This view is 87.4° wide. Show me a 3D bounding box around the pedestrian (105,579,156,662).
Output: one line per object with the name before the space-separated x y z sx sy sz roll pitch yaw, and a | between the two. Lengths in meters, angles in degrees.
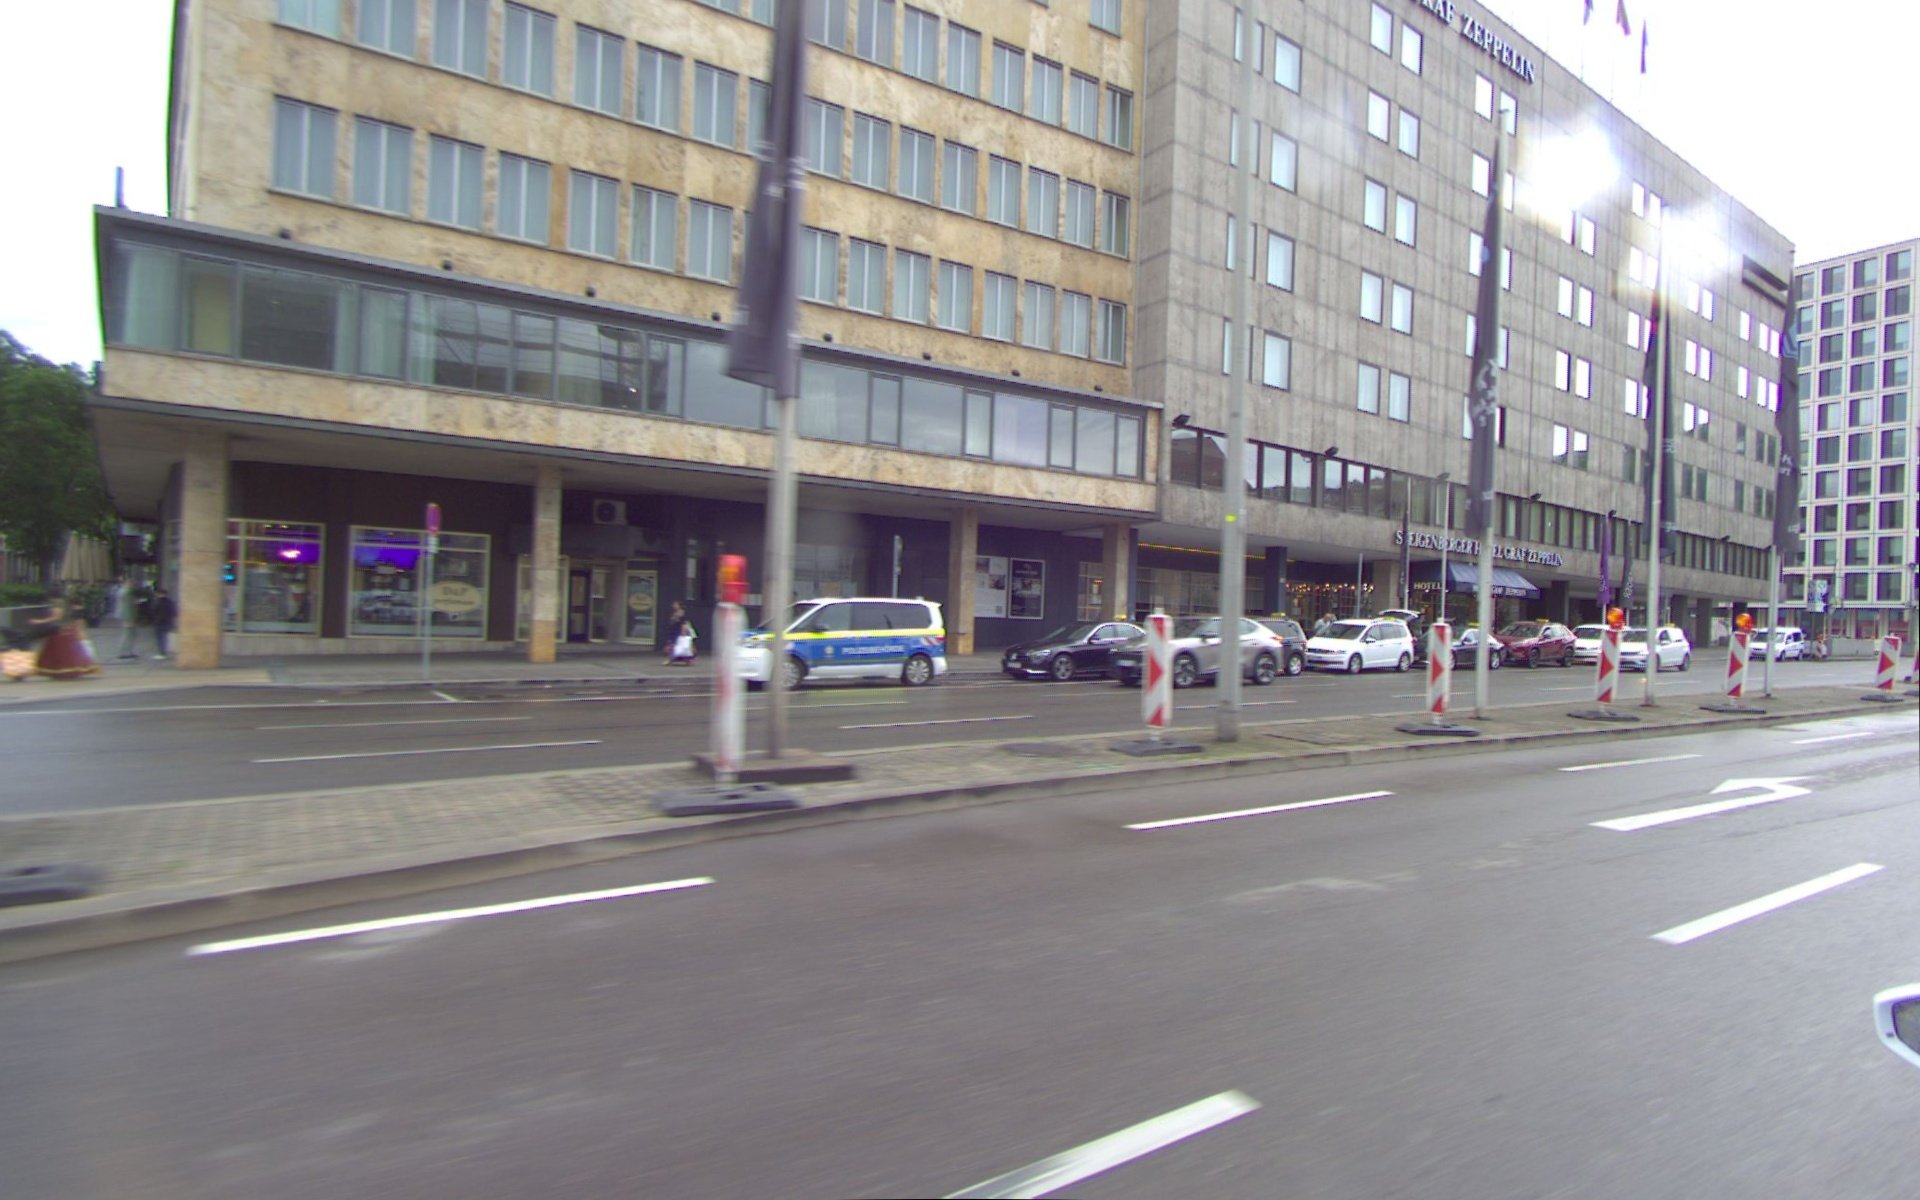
pedestrian | -19.523 0.487 23.656 0.763 1.900 0.712 2 -1 -30

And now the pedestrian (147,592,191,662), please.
pedestrian | -18.646 0.636 23.686 0.675 1.630 0.621 2 -1 -30

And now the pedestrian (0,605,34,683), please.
pedestrian | -16.354 0.744 17.121 0.746 1.309 0.559 2 -1 -37

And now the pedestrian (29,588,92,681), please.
pedestrian | -15.948 0.608 17.824 0.673 1.613 0.661 2 -1 -30

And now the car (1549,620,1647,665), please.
car | 26.350 1.766 41.459 4.532 1.720 1.804 2 -1 -35

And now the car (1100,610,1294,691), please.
car | 5.458 1.127 22.889 4.453 1.691 1.763 2 -2 -34

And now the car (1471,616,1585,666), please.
car | 21.760 1.583 38.456 4.597 1.791 1.891 2 -1 -33

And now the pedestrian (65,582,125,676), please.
pedestrian | -15.900 0.535 18.479 0.746 1.690 0.559 2 -1 -37

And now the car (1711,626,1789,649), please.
car | 70.068 3.328 89.159 2.059 1.929 5.055 2 -1 -24

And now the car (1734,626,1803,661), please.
car | 43.338 2.325 53.805 4.328 1.786 1.762 2 -1 -35

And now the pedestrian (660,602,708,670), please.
pedestrian | -6.555 0.856 23.872 0.945 1.569 0.712 2 -1 -29

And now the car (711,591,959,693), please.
car | -2.589 0.854 21.533 5.025 1.954 1.887 1 -1 -36

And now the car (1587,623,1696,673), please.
car | 24.593 1.712 36.195 4.456 1.691 1.812 2 -1 -35

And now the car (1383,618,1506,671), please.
car | 16.982 1.534 35.122 4.570 1.681 1.890 2 -1 -35

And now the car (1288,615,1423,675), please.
car | 12.580 1.415 31.870 4.665 1.781 1.742 2 -1 -36

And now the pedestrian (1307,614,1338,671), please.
pedestrian | 11.863 1.382 32.892 0.651 1.805 0.617 3 0 -34

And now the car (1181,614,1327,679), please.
car | 8.277 1.268 28.150 4.187 1.704 1.742 1 -1 -36

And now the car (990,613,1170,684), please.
car | 3.070 1.208 25.324 4.521 1.643 1.742 2 -1 -36
